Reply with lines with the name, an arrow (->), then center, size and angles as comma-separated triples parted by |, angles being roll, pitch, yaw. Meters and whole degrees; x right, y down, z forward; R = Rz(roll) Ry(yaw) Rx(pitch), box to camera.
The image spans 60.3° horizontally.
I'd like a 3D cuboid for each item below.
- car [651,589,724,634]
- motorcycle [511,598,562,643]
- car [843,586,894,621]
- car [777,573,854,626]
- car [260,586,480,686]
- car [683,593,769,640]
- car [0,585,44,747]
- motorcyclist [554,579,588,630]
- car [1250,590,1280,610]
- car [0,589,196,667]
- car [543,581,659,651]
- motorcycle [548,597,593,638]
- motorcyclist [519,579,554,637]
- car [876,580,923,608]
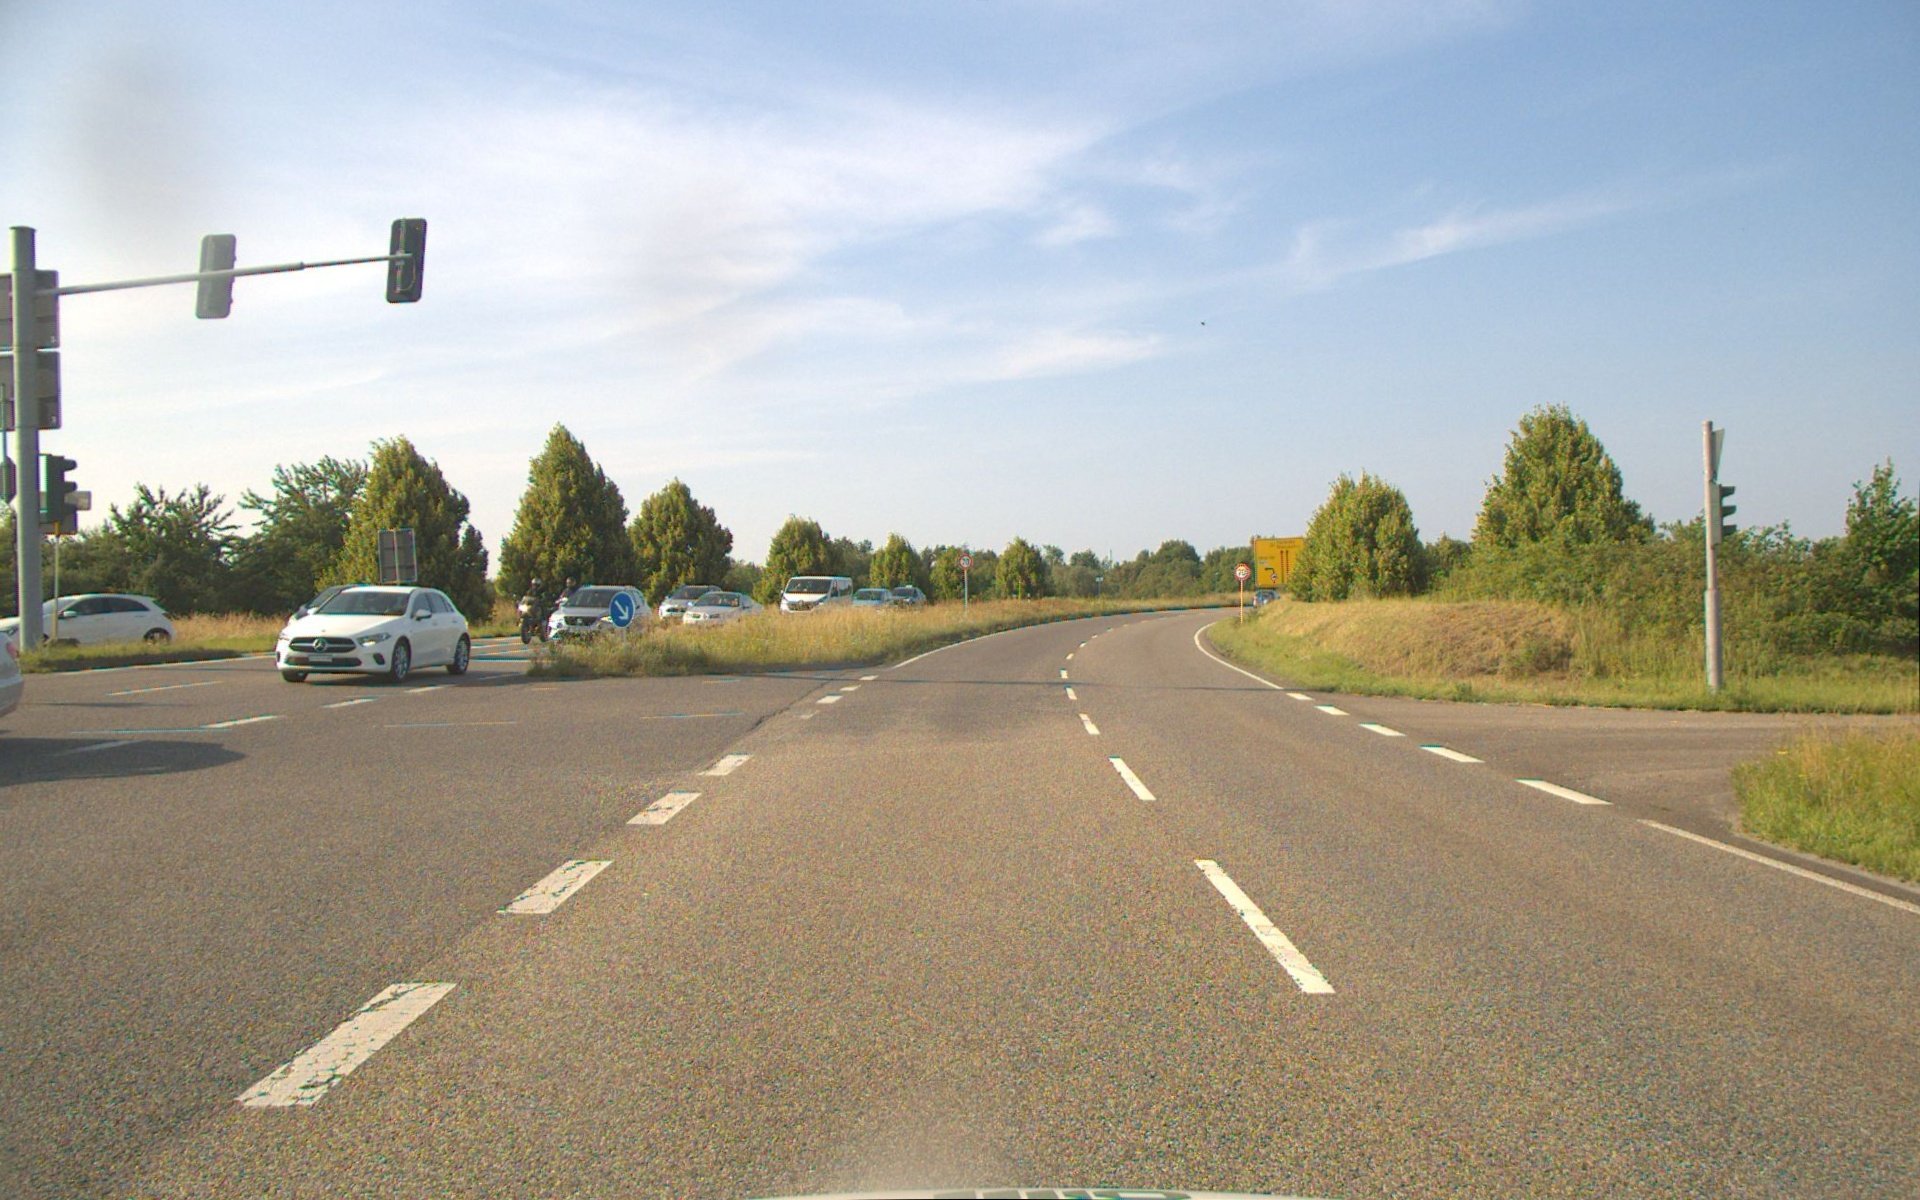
car -> -9.852, 0.390, 60.007 | 1.670, 1.551, 4.137 | 0, 0, 4
motorcycle -> -11.250, 0.528, 43.984 | 0.686, 1.158, 2.278 | 0, 0, 2
car -> -4.016, 0.146, 72.903 | 1.643, 1.468, 3.755 | 0, 0, 6
car -> -5.509, -0.022, 63.771 | 1.951, 1.937, 5.793 | 0, 0, 6
car -> -9.170, 0.510, 26.115 | 1.693, 1.438, 4.396 | 0, 0, 3
car -> -7.070, 0.468, 50.351 | 1.658, 1.376, 4.455 | 0, 0, 4
car -> -9.590, 0.600, 13.217 | 1.887, 1.460, 4.701 | 0, 0, 0
motorcyclist -> -11.530, 0.119, 49.014 | 0.689, 1.490, 1.021 | 0, 0, 5
car -> 23.337, -0.015, 126.505 | 1.705, 1.547, 3.833 | 0, 0, 19
car -> -19.086, 0.561, 35.749 | 1.910, 1.561, 4.440 | 0, 0, 29
car -> -8.325, 0.346, 38.631 | 1.650, 1.550, 4.093 | 0, 0, 2
motorcycle -> -11.537, 0.514, 49.072 | 0.692, 1.179, 2.024 | 0, 0, 5
motorcyclist -> -11.254, 0.196, 43.972 | 0.683, 1.529, 0.896 | 0, 0, 2
car -> -3.406, -0.358, 94.078 | 1.872, 1.592, 4.614 | 0, 0, 8
